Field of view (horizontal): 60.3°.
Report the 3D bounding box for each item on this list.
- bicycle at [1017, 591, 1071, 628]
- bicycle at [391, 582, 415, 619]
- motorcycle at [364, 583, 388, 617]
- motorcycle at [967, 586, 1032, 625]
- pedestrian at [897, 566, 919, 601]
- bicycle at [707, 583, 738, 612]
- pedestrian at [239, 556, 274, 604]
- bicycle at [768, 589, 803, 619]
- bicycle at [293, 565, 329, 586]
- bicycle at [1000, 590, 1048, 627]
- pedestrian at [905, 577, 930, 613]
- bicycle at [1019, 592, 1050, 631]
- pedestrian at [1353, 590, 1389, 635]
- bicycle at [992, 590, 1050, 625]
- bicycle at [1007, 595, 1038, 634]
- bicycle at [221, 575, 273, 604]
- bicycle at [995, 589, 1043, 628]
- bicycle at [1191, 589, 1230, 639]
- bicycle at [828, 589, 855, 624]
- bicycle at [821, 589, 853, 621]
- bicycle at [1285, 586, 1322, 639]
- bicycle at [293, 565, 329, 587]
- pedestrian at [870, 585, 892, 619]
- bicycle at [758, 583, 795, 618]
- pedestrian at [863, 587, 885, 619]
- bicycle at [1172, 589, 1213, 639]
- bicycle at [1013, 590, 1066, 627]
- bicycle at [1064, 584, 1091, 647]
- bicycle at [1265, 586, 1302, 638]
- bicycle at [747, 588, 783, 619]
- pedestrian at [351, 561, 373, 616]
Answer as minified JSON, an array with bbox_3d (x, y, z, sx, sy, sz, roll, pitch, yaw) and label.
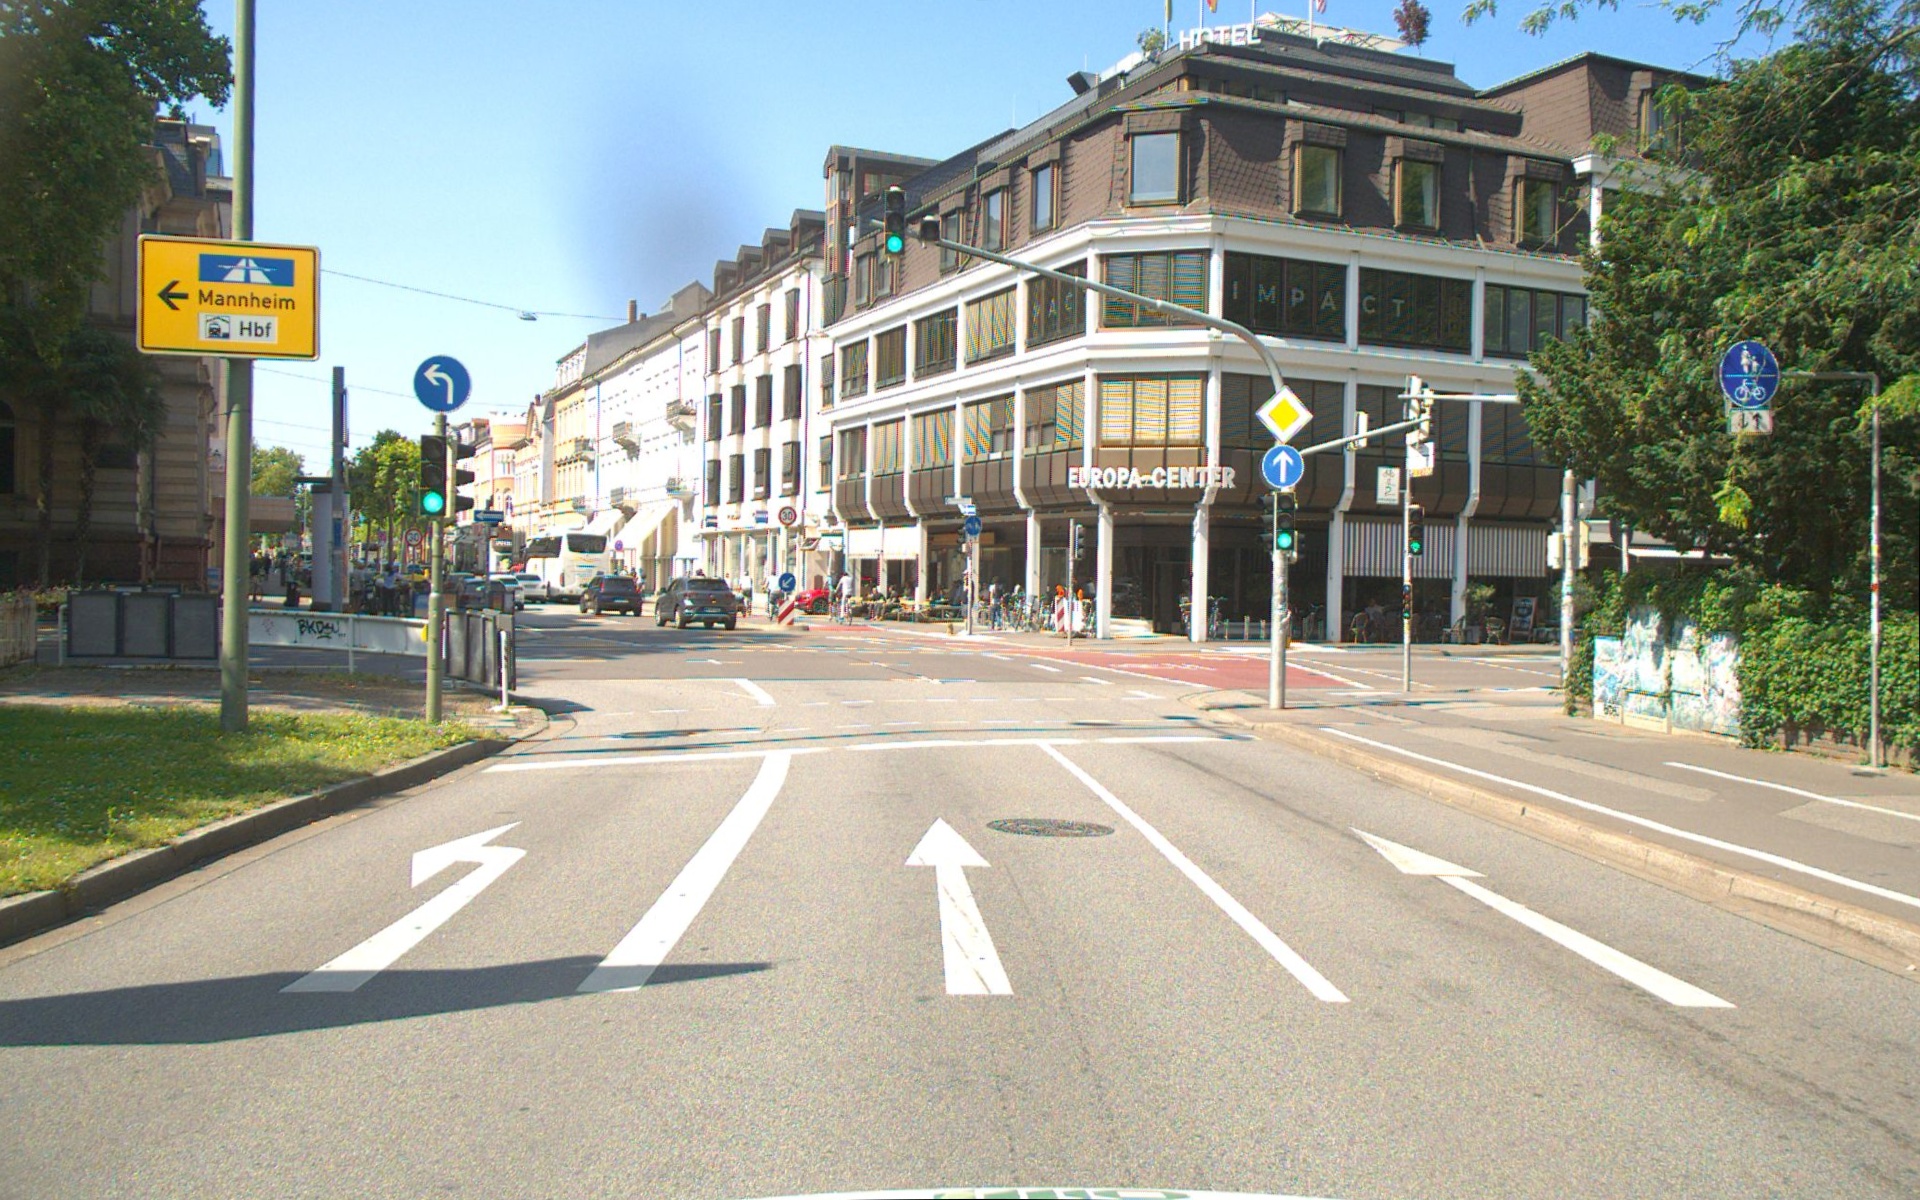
[{"bbox_3d":[2.647,0.284,52.117,1.689,1.140,0.276,-1,1,-17],"label":"bicycle"},{"bbox_3d":[-17.567,0.032,52.228,0.422,1.140,2.236,2,-1,-12],"label":"bicycle"},{"bbox_3d":[-18.408,0.002,52.179,0.446,1.015,2.153,2,0,-13],"label":"motorcycle"},{"bbox_3d":[1.356,0.193,56.398,2.188,1.313,0.949,0,0,5],"label":"motorcycle"},{"bbox_3d":[-2.110,-0.676,67.261,0.734,1.391,0.580,1,0,-25],"label":"pedestrian"},{"bbox_3d":[-9.602,-0.095,66.834,0.612,1.118,2.334,1,0,-25],"label":"bicycle"},{"bbox_3d":[-26.995,-0.763,63.476,0.766,1.804,1.002,1,0,15],"label":"pedestrian"},{"bbox_3d":[-6.762,0.154,64.010,0.612,1.118,2.334,1,0,-25],"label":"bicycle"},{"bbox_3d":[-42.219,-1.588,107.594,2.052,1.240,0.749,4,-1,-40],"label":"bicycle"},{"bbox_3d":[2.048,0.267,52.853,1.545,1.140,0.276,-1,1,-17],"label":"bicycle"},{"bbox_3d":[-1.704,-0.199,66.359,0.865,1.391,0.533,1,0,-25],"label":"pedestrian"},{"bbox_3d":[2.279,0.352,51.090,0.272,1.140,2.234,1,1,-15],"label":"bicycle"},{"bbox_3d":[12.671,0.379,50.980,0.811,1.358,0.970,1,1,30],"label":"pedestrian"},{"bbox_3d":[2.017,0.255,54.636,2.219,1.116,0.274,1,1,-37],"label":"bicycle"},{"bbox_3d":[1.915,0.439,50.956,0.272,1.140,2.234,1,1,-15],"label":"bicycle"},{"bbox_3d":[-27.194,-0.402,63.083,1.978,1.080,0.491,1,0,16],"label":"bicycle"},{"bbox_3d":[1.911,0.264,53.192,1.521,1.228,0.276,1,1,-17],"label":"bicycle"},{"bbox_3d":[7.103,0.389,46.828,0.519,1.339,1.857,1,2,28],"label":"bicycle"},{"bbox_3d":[-4.015,0.202,56.008,0.584,1.140,1.794,1,1,-15],"label":"bicycle"},{"bbox_3d":[-4.397,0.171,58.926,0.610,1.118,2.341,1,0,-18],"label":"bicycle"},{"bbox_3d":[9.937,0.352,47.831,0.519,1.447,1.965,1,2,28],"label":"bicycle"},{"bbox_3d":[-41.694,-1.533,106.252,2.044,1.311,0.364,4,-1,-31],"label":"bicycle"},{"bbox_3d":[-2.914,0.071,61.218,0.699,1.238,0.694,0,-1,-15],"label":"pedestrian"},{"bbox_3d":[-6.538,0.003,58.750,0.655,1.140,2.228,3,1,-23],"label":"bicycle"},{"bbox_3d":[-3.218,0.098,62.014,0.699,1.193,0.694,0,-1,-15],"label":"pedestrian"},{"bbox_3d":[6.623,0.391,47.019,0.519,1.339,1.965,1,2,28],"label":"bicycle"},{"bbox_3d":[2.533,0.264,52.495,1.689,1.140,0.276,-1,1,-17],"label":"bicycle"},{"bbox_3d":[3.448,0.452,48.454,0.368,1.497,1.065,-1,-39,19],"label":"bicycle"},{"bbox_3d":[9.417,0.339,48.091,0.519,1.447,1.965,1,2,28],"label":"bicycle"},{"bbox_3d":[-7.286,0.125,61.675,0.612,1.118,2.334,1,0,-25],"label":"bicycle"},{"bbox_3d":[-18.812,-0.360,52.019,0.540,1.694,0.933,0,-1,-15],"label":"pedestrian"}]
